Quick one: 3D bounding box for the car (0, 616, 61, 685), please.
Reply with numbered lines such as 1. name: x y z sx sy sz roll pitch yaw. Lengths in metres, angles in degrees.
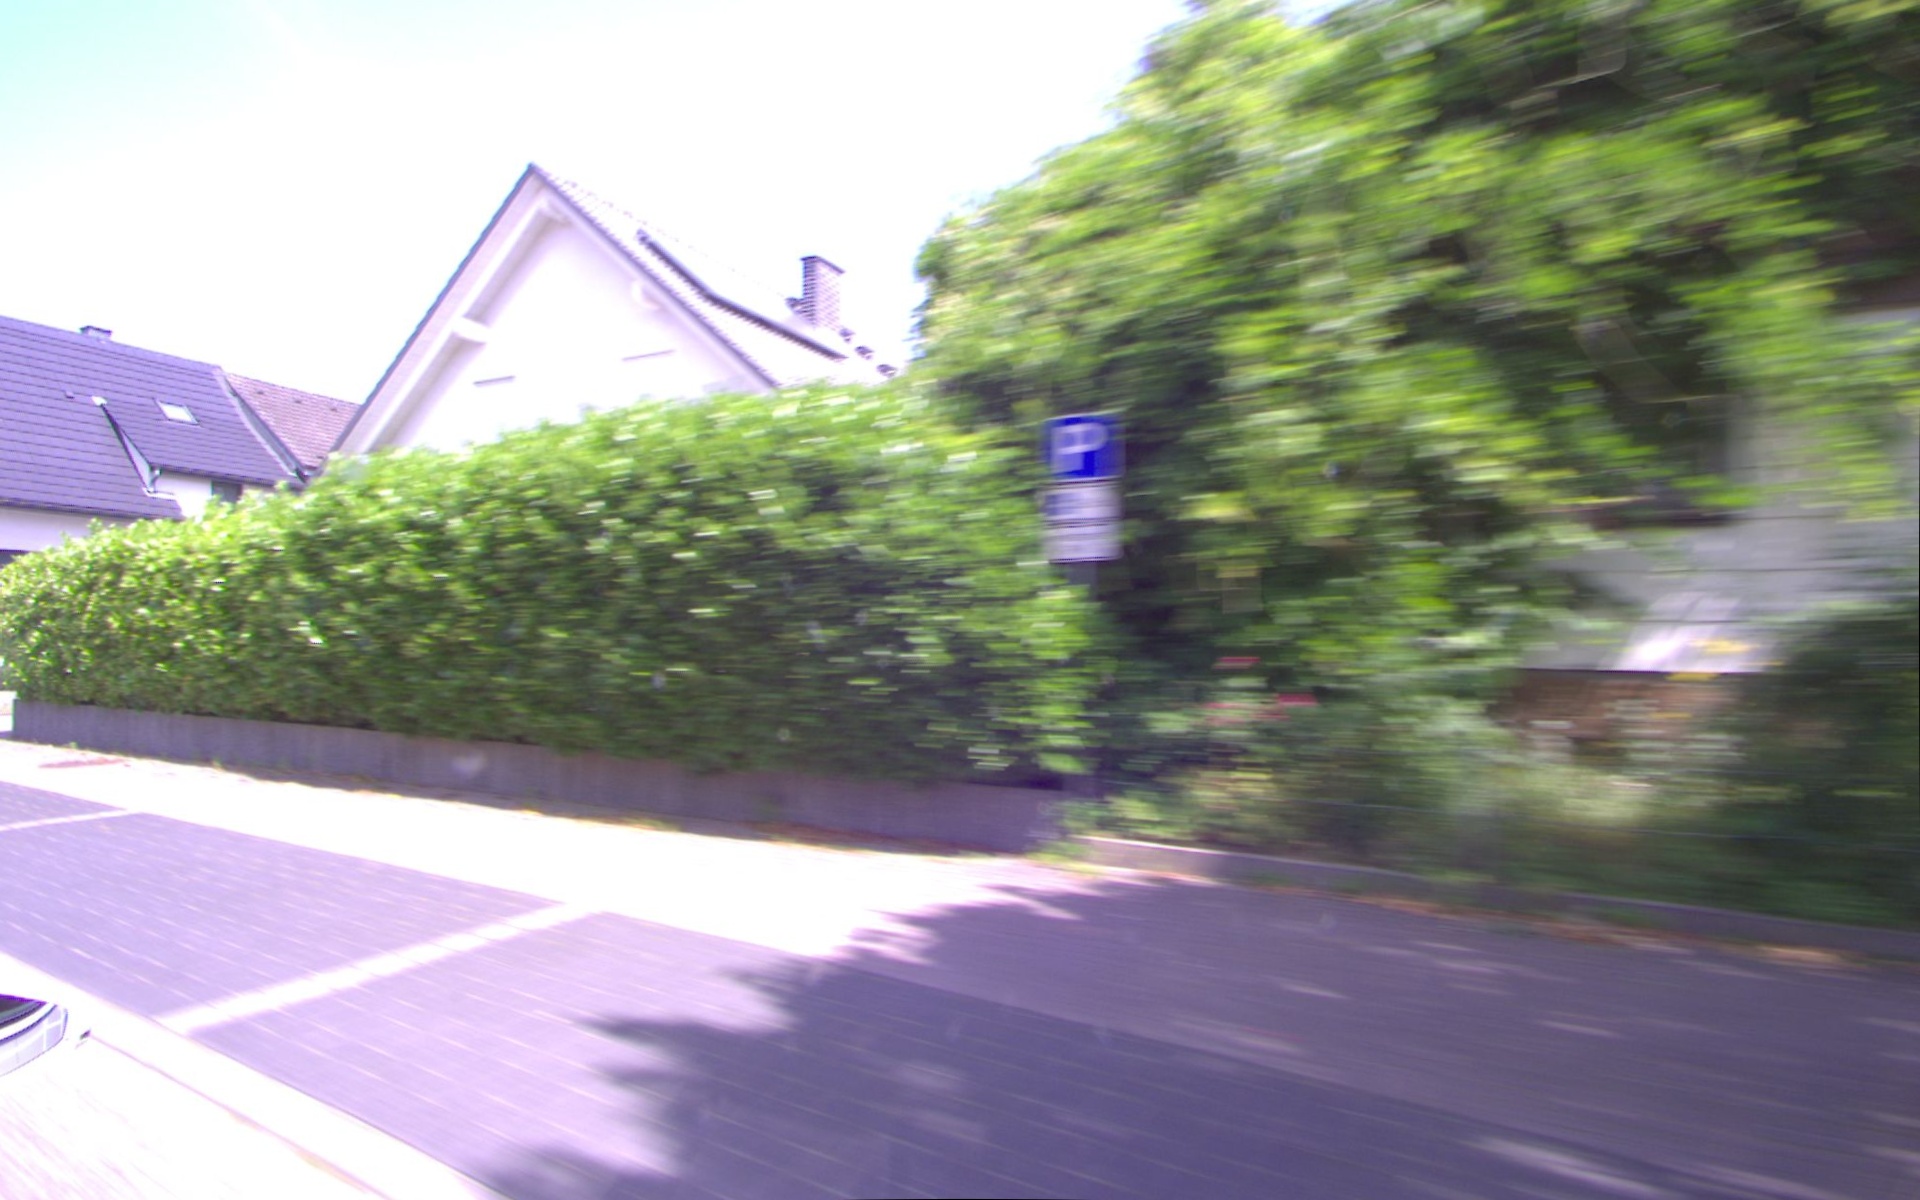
1. car: -22.103 1.096 21.589 1.736 1.494 3.659 1 -1 24
